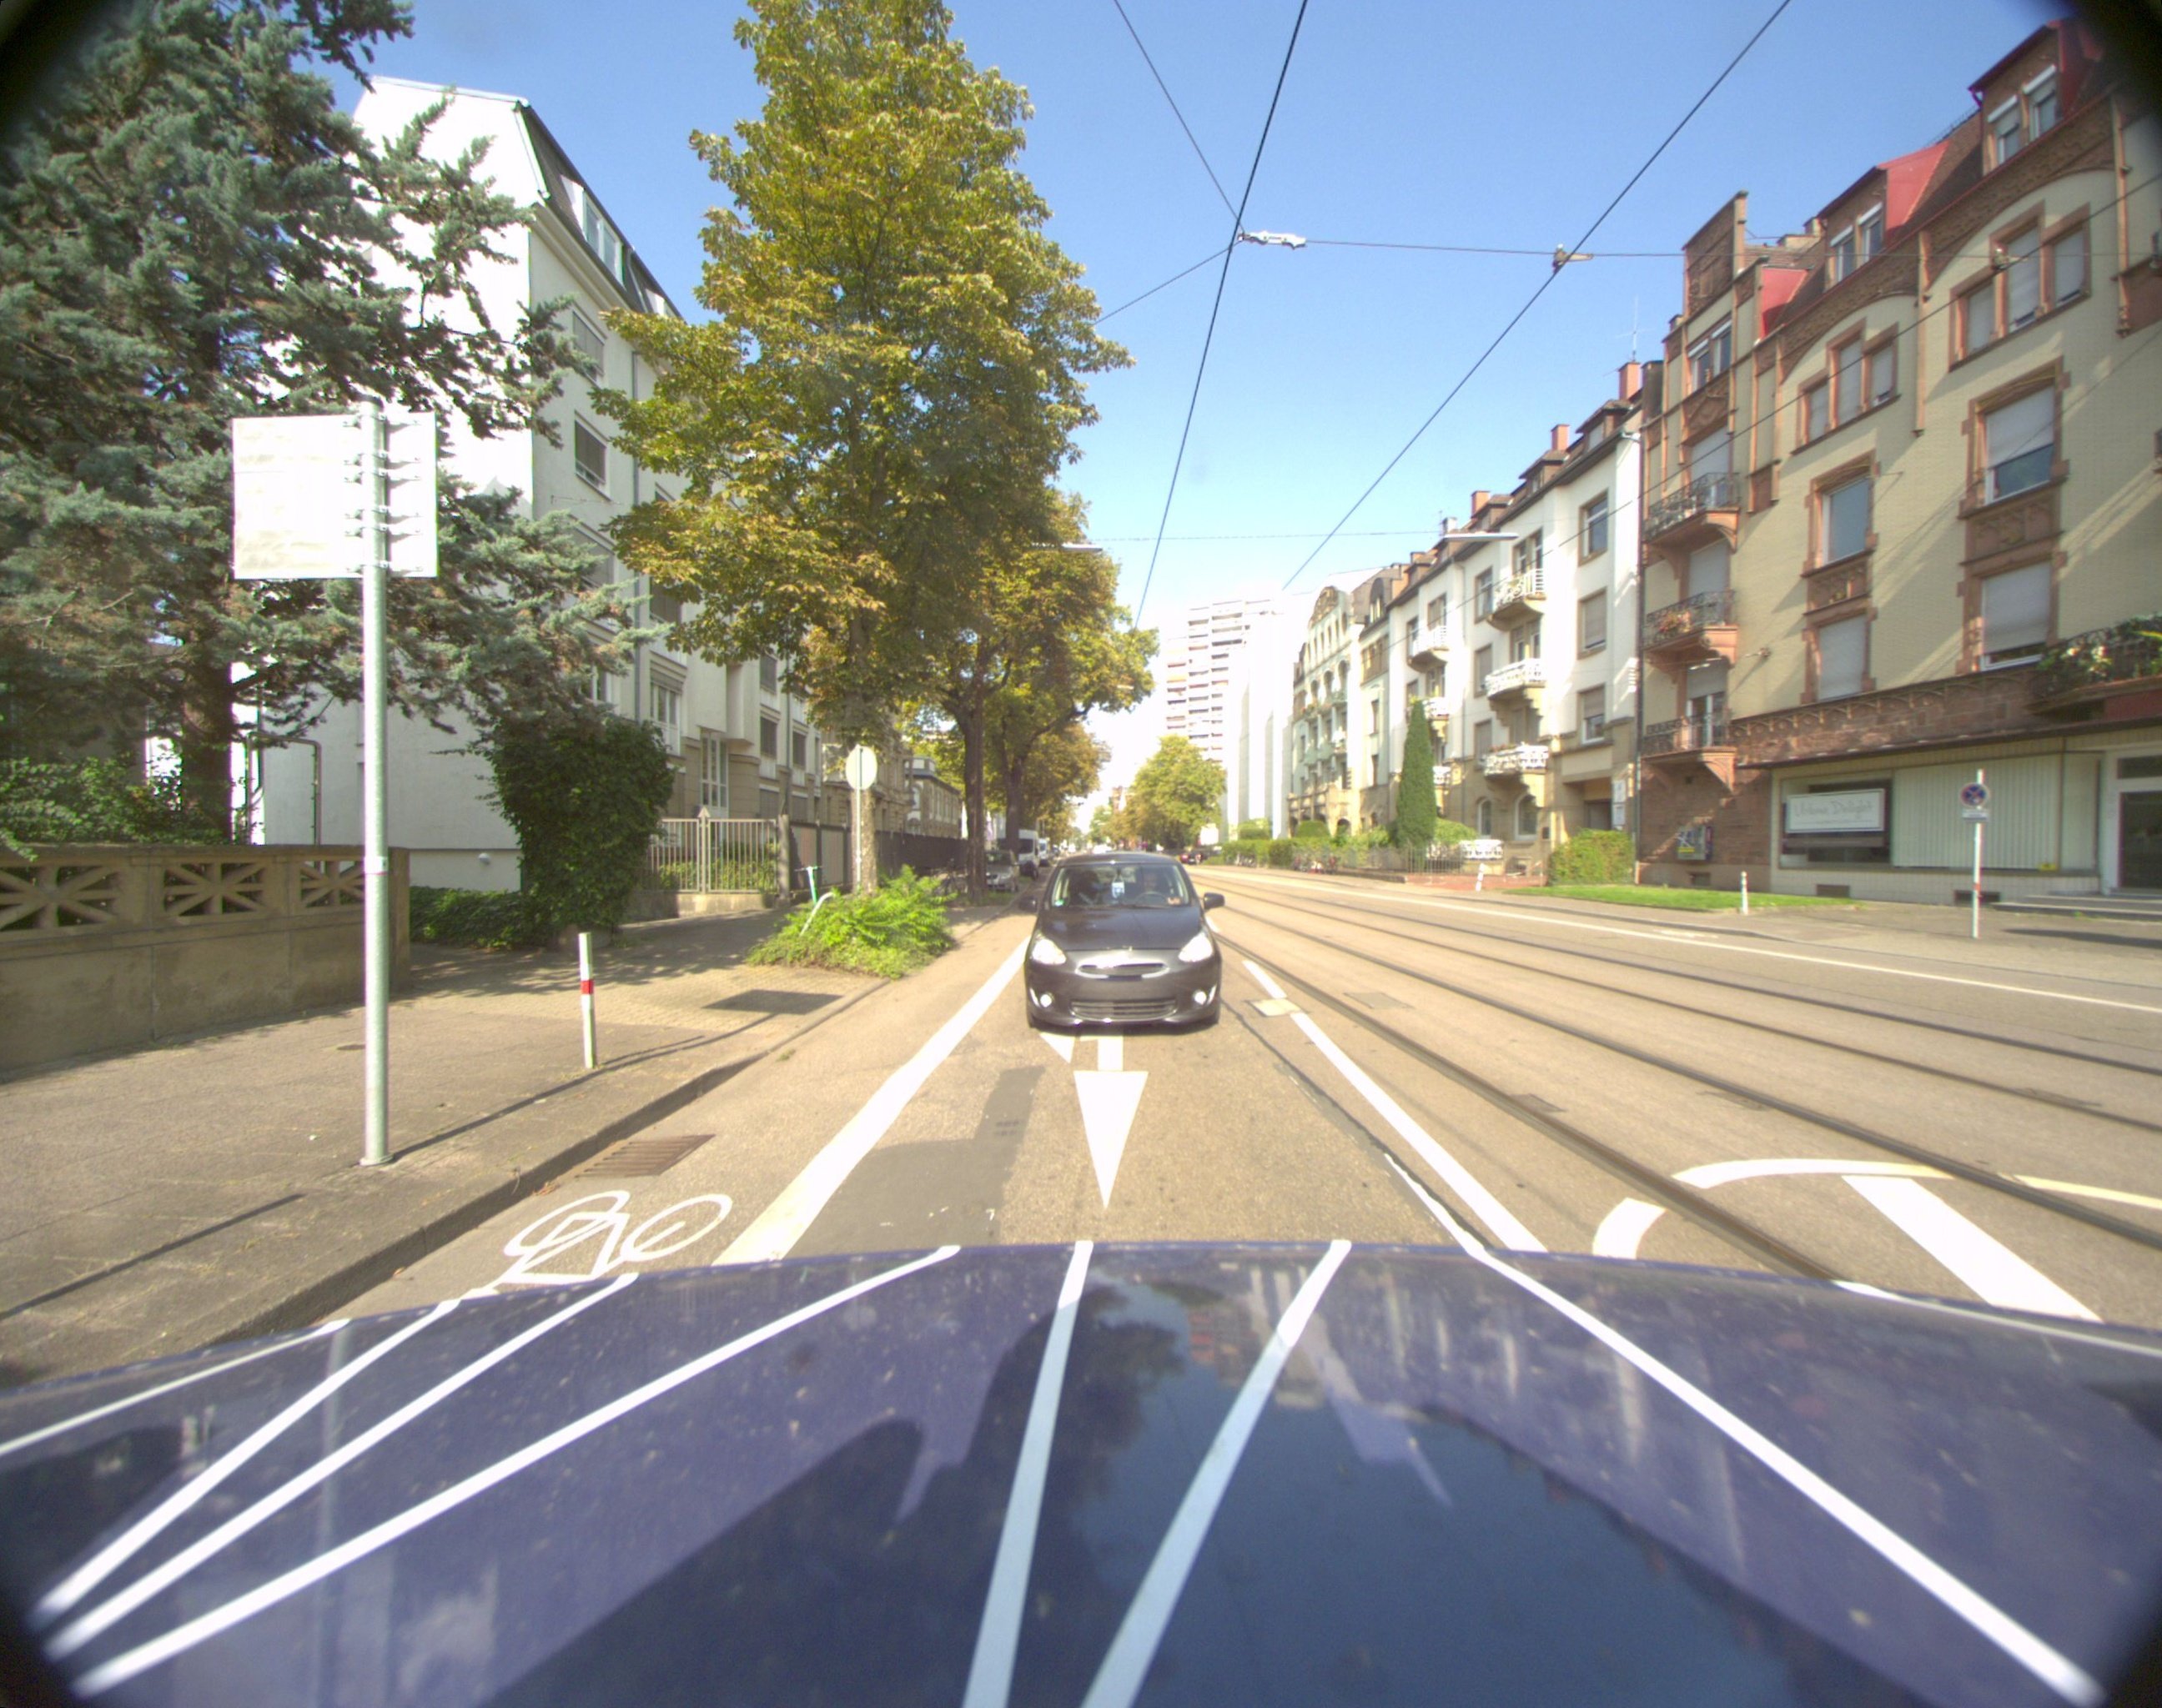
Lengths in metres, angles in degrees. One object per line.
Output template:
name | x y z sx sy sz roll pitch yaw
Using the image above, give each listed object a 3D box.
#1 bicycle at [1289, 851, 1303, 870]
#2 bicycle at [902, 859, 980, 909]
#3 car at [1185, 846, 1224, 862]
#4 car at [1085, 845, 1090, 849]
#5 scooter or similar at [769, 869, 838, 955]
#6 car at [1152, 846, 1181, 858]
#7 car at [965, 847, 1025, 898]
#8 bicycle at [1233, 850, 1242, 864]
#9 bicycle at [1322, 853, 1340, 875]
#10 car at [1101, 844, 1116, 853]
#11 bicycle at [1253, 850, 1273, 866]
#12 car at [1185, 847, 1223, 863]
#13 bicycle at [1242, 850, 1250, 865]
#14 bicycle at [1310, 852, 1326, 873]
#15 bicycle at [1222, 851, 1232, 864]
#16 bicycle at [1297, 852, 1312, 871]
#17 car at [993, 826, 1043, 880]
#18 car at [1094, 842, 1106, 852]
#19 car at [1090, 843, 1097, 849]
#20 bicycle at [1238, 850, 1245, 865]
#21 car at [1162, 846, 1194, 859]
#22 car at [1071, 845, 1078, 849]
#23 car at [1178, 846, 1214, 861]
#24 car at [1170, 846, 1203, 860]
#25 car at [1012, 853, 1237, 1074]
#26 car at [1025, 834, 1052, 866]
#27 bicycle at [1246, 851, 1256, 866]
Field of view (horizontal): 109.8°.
bicycle | 12.594 0.398 44.525 0.371 1.081 1.354 0 1 -2
bicycle | -3.465 0.744 18.914 1.846 1.160 0.503 2 5 -41
car | 12.252 -0.004 75.343 1.767 1.518 4.008 1 1 45
car | 2.195 -2.392 251.807 1.757 1.349 3.787 0 1 0
scooter or similar | -4.257 0.866 11.709 0.559 1.190 1.034 3 2 4
car | 10.918 -0.319 97.330 1.767 1.518 4.008 1 1 40
car | -2.924 0.581 26.610 1.611 1.515 4.356 3 1 -1
bicycle | 12.229 0.224 59.449 0.425 1.081 1.676 0 1 1
bicycle | 12.567 0.476 38.221 0.371 1.081 1.487 0 1 -1
car | 4.468 -0.913 124.150 1.877 1.446 4.542 3 1 -4
bicycle | 12.826 0.294 53.537 1.397 1.081 0.425 0 1 -19
car | 11.619 0.079 71.546 1.767 1.518 4.008 1 1 40
bicycle | 12.305 0.272 56.630 0.425 1.081 1.677 0 1 8
bicycle | 12.449 0.447 39.994 0.371 1.081 1.354 0 1 -2
bicycle | 12.054 0.278 62.780 0.425 0.972 1.769 0 1 -2
bicycle | 12.573 0.409 42.754 0.371 1.081 1.354 0 1 -2
car | -3.087 -0.087 38.334 2.051 2.484 6.227 1 1 -1
car | 3.970 -1.462 156.323 1.999 2.002 4.857 0 1 -4
car | 3.514 -2.187 209.205 1.701 1.395 4.644 -1 1 -2
bicycle | 12.140 0.251 57.437 0.425 1.081 1.677 0 1 8
car | 11.308 -0.179 88.487 1.767 1.518 4.008 1 1 40
car | -2.117 -2.317 251.162 1.999 1.572 4.156 0 1 -4
car | 11.857 -0.036 78.179 1.767 1.518 4.008 1 1 40
car | 11.925 -0.118 85.645 1.767 1.518 4.008 1 1 40
car | 0.287 0.792 7.708 1.611 1.515 4.356 -1 1 -1
car | -3.597 -0.341 65.302 1.999 2.526 5.866 2 1 0
bicycle | 12.190 0.312 54.532 0.425 1.081 1.676 0 1 3
